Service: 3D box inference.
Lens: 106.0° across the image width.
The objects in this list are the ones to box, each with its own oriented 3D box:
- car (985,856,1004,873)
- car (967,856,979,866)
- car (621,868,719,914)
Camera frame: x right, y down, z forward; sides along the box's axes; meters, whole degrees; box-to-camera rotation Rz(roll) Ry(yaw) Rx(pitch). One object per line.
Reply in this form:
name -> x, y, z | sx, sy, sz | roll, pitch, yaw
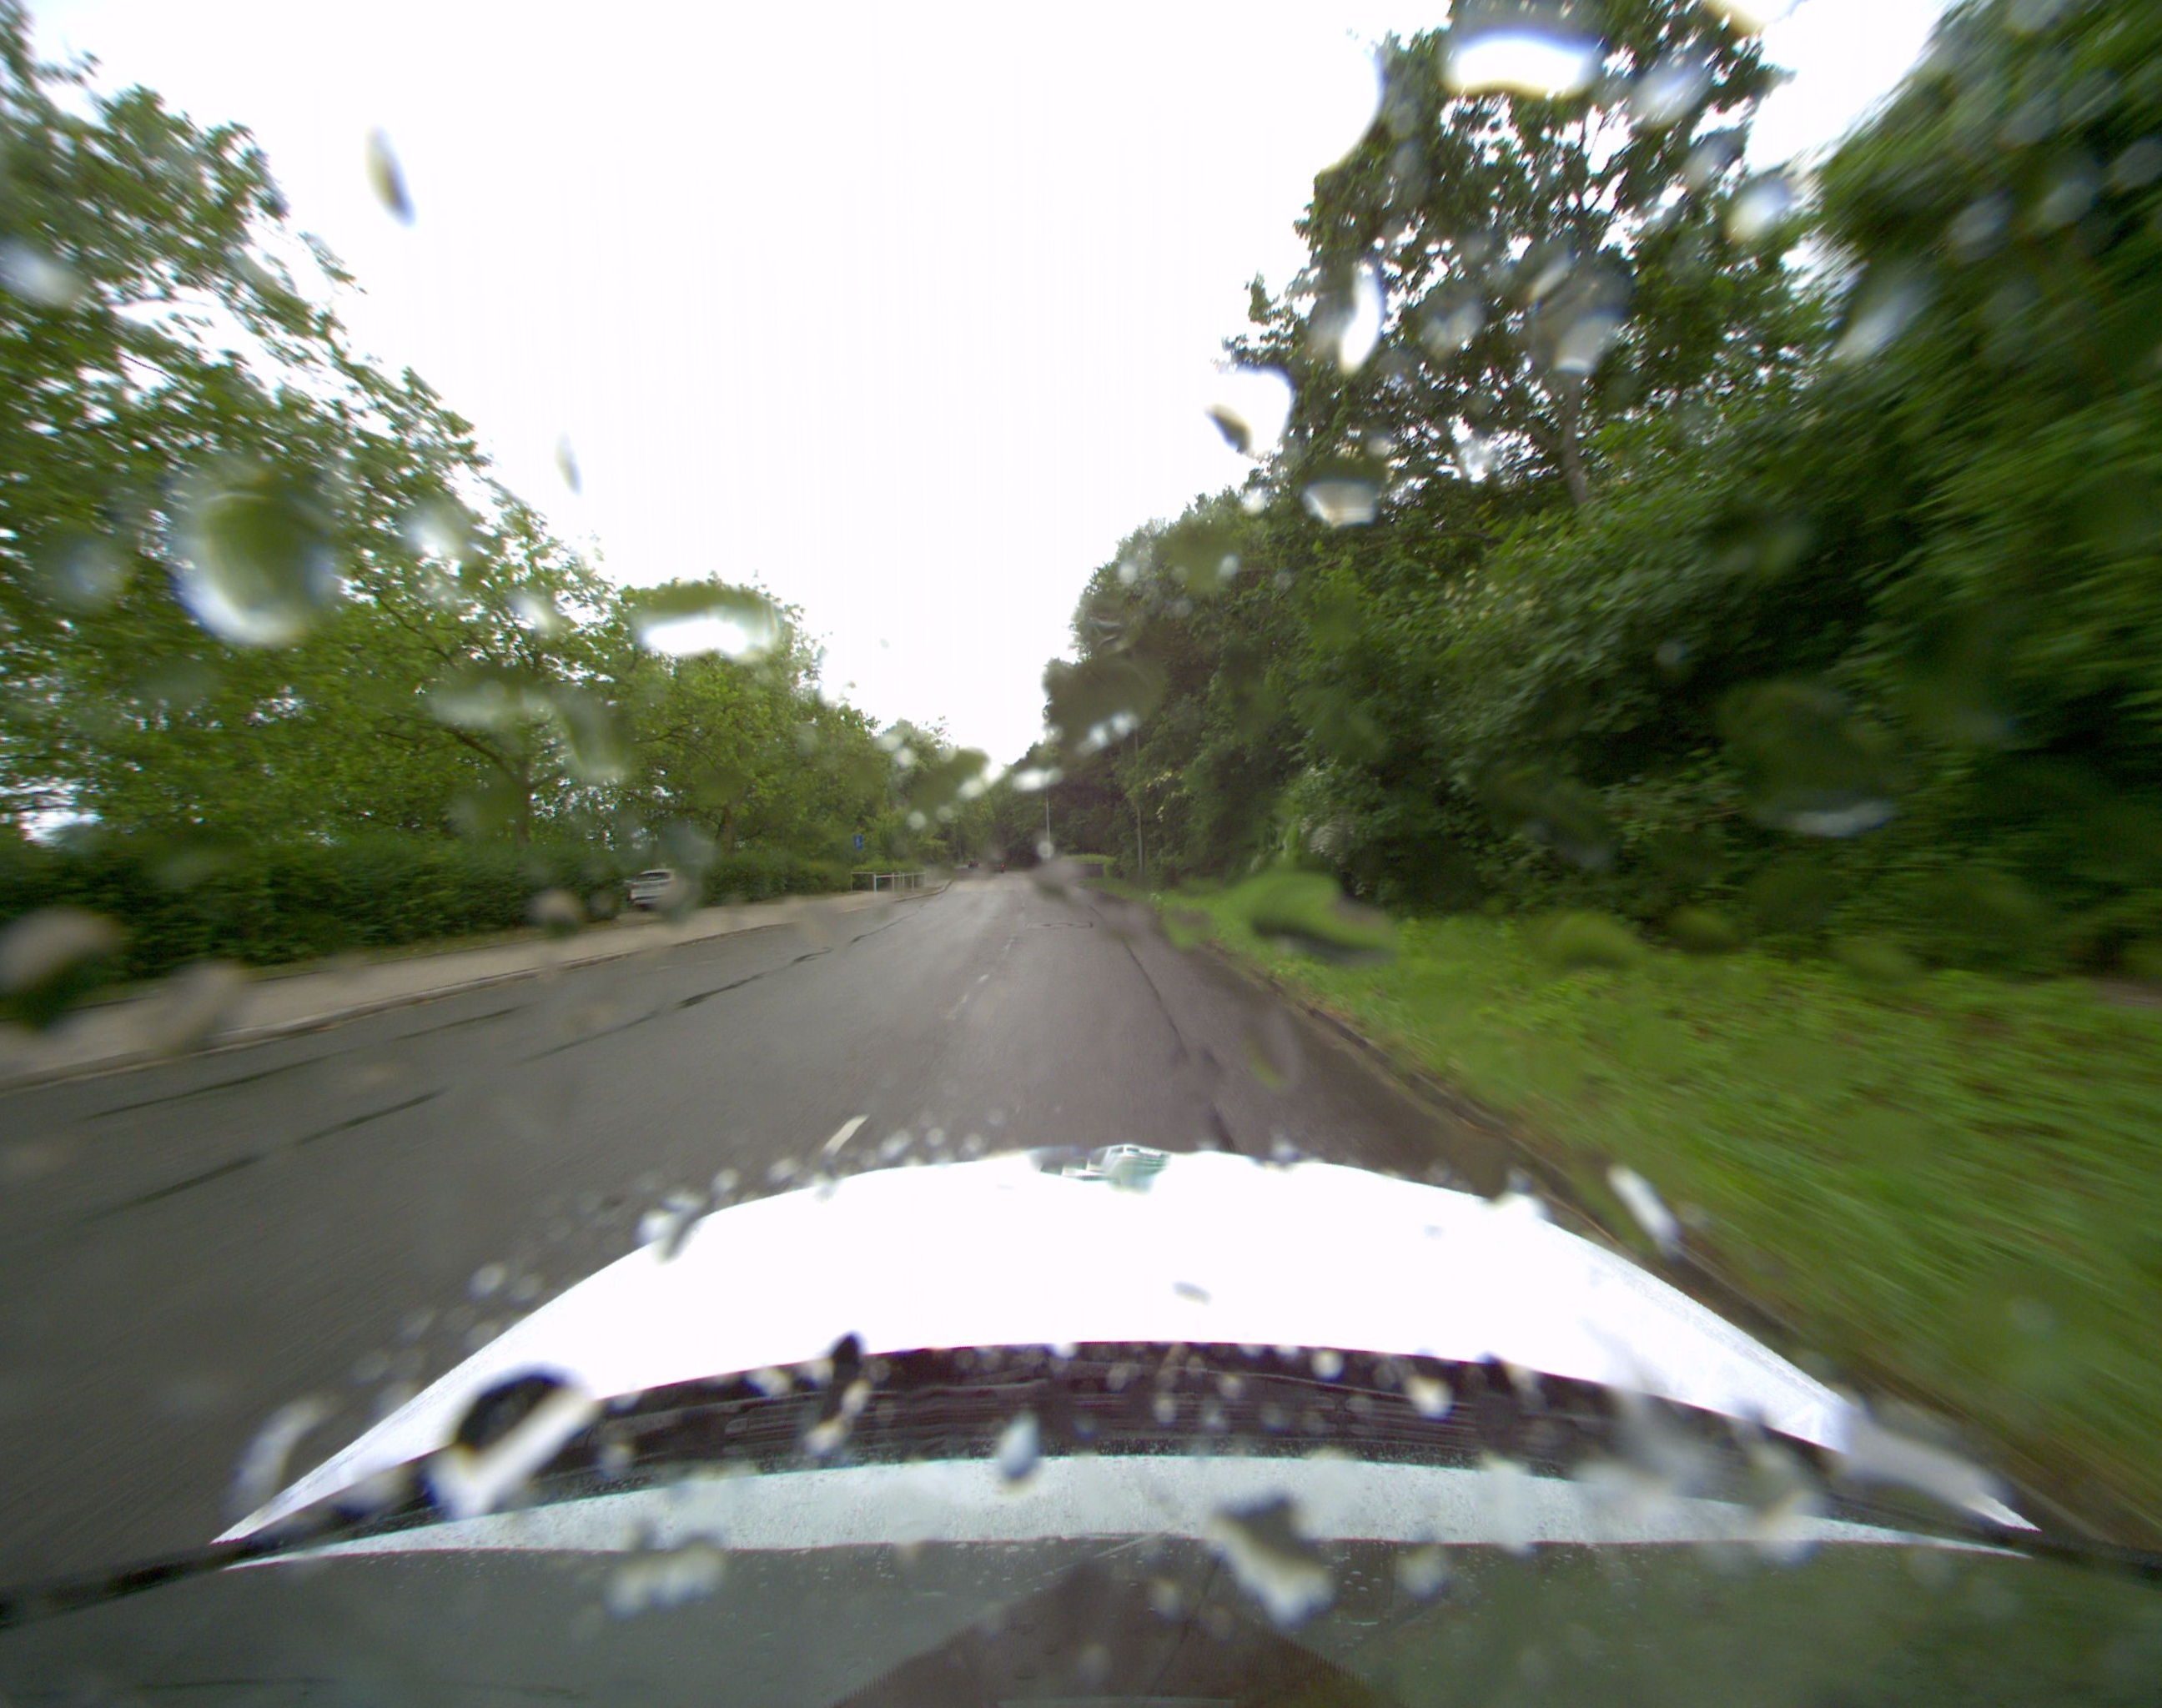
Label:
car -> -10.299, 1.270, 96.790 | 1.986, 1.926, 3.985 | -1, 0, -11
car -> -19.689, 1.250, 148.363 | 1.992, 1.816, 3.989 | 0, -1, -8
car -> -16.124, 1.404, 32.199 | 1.789, 1.510, 3.998 | -4, 0, -1
